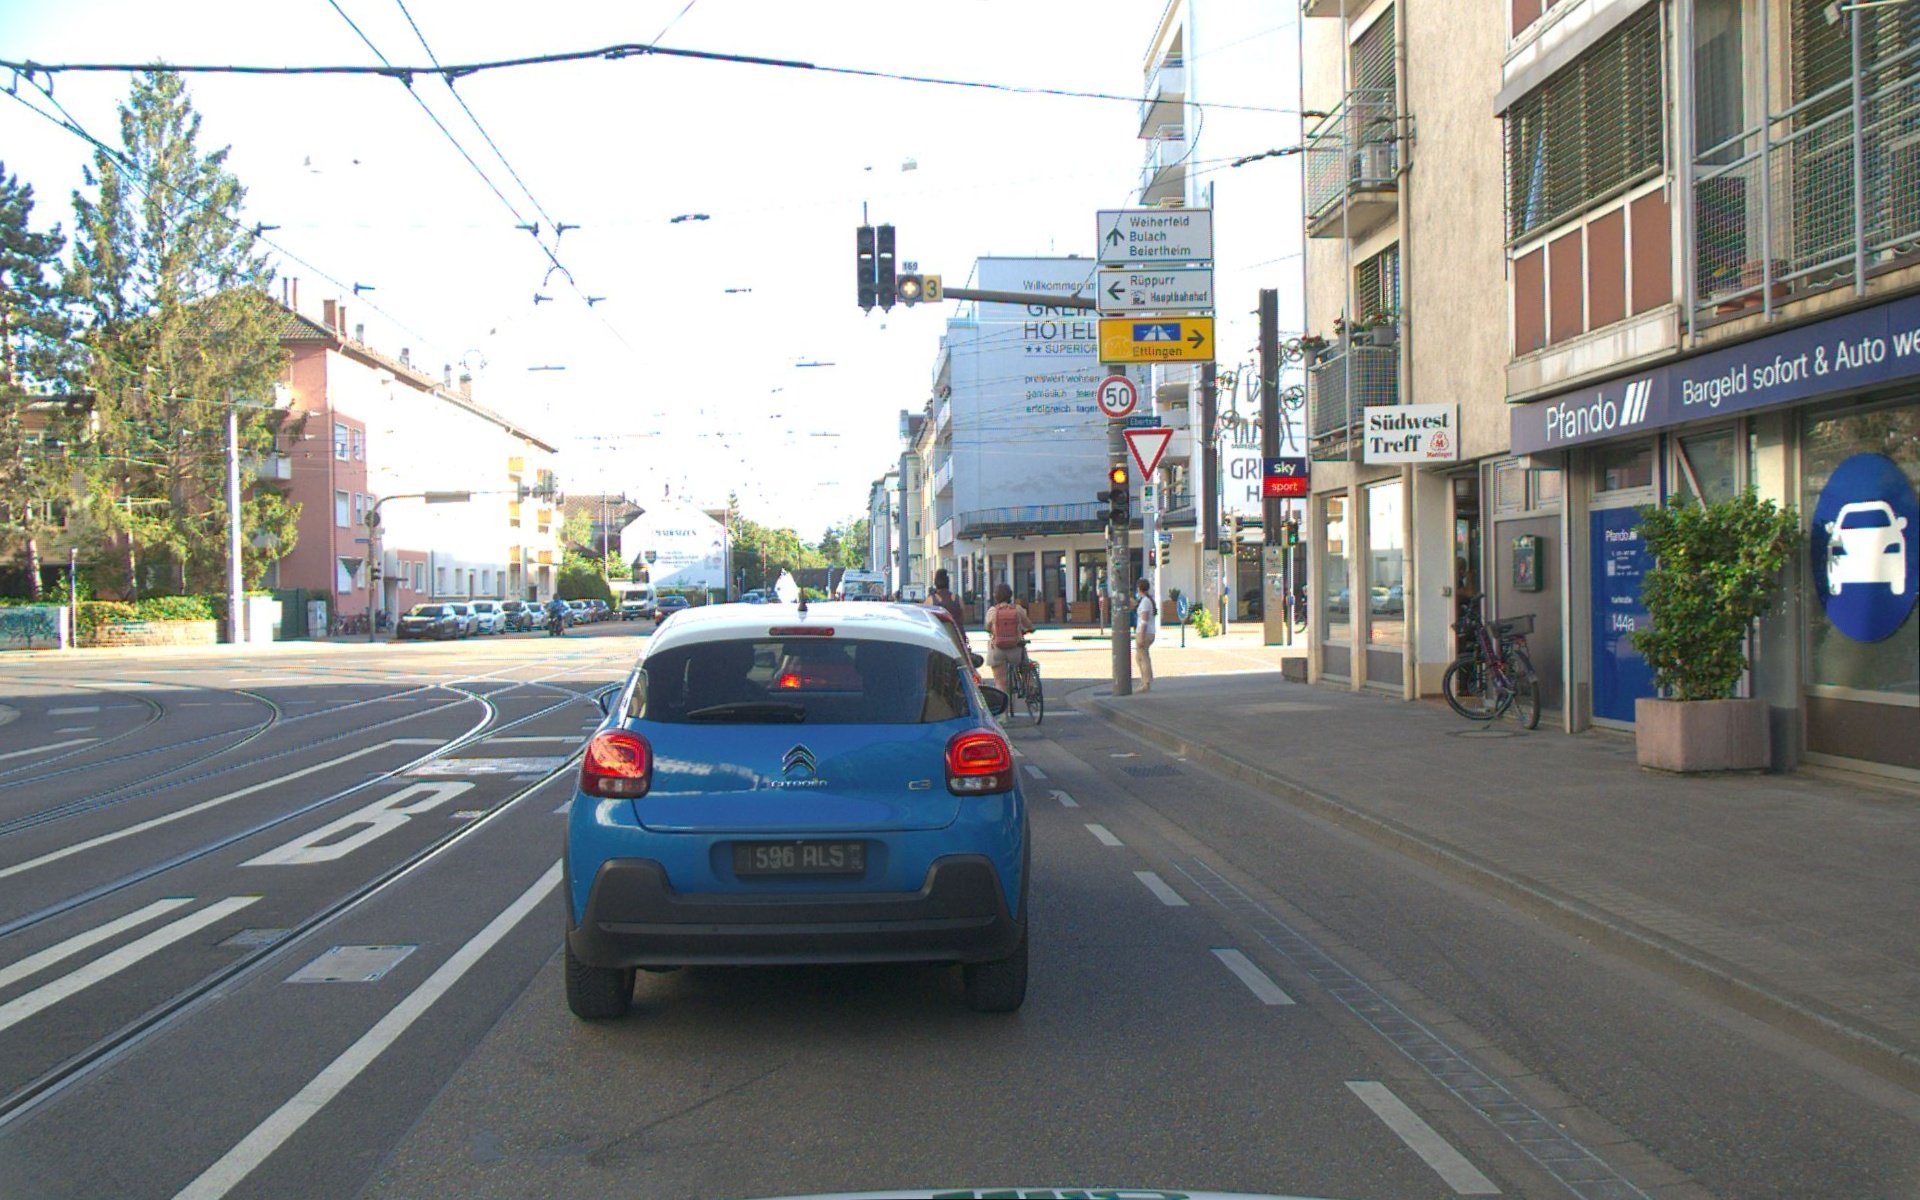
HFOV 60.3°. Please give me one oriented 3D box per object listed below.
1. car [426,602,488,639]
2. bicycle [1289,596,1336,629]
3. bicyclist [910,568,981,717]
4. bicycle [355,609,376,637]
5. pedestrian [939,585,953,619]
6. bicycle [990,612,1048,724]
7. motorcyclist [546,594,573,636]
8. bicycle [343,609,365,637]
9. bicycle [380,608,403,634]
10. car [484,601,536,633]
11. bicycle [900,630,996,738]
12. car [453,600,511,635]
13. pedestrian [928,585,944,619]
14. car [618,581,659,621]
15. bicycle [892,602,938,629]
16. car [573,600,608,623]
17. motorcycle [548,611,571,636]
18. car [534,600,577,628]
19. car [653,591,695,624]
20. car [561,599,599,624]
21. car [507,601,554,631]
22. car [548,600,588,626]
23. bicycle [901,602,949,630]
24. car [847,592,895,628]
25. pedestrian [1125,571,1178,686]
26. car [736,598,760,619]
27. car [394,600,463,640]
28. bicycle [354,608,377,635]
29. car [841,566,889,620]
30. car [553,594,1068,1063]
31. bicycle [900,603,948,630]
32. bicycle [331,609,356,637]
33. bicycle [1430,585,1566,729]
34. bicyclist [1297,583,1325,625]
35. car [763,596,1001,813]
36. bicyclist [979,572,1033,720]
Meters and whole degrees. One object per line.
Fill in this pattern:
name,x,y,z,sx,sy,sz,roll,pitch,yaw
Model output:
car,-22.554,0.877,74.265,1.913,1.545,4.040,-1,0,-6
bicycle,12.155,0.437,56.988,1.464,1.110,0.603,-1,0,37
bicyclist,-0.168,0.472,18.978,0.607,1.658,0.756,-1,0,-16
bicycle,-24.231,0.937,67.425,0.527,1.101,1.905,-1,0,-11
pedestrian,-0.586,0.086,70.001,0.459,1.445,0.525,-1,0,-13
bicycle,0.718,0.815,20.644,0.601,1.286,1.910,-1,0,-1
motorcyclist,-16.206,0.608,66.961,0.973,1.659,0.737,-1,0,-10
bicycle,-24.589,0.929,67.125,0.527,1.101,1.905,-1,0,-11
bicycle,-25.673,0.942,74.701,0.597,1.101,1.908,-1,0,-7
car,-23.234,0.841,85.527,1.913,1.545,3.995,-1,0,-6
bicycle,-0.166,0.934,18.996,0.607,1.123,1.878,-1,0,-16
car,-22.756,0.821,78.870,1.913,1.545,3.995,-1,0,-6
pedestrian,-1.011,0.091,70.246,0.514,1.445,0.547,-1,0,19
car,-23.222,0.070,119.586,2.446,2.759,5.828,-1,0,-7
bicycle,-1.861,0.644,68.279,1.868,1.083,0.641,-1,0,-8
car,-25.565,0.790,114.602,1.913,1.545,3.995,-1,0,-6
motorcycle,-16.227,0.941,67.029,0.738,0.993,2.092,-1,0,-9
car,-23.934,0.824,98.002,1.913,1.545,3.995,-1,0,-6
car,-15.233,0.362,88.248,1.967,1.656,5.045,-1,0,-7
car,-24.849,0.751,108.272,1.913,1.545,3.995,-1,0,-6
car,-23.763,0.857,91.577,1.913,1.545,3.995,-1,0,-6
car,-24.408,0.810,102.999,1.913,1.545,3.995,-1,0,-6
bicycle,-1.394,0.642,65.787,1.868,1.083,0.641,-1,0,-8
car,-3.677,0.385,67.747,1.752,1.383,3.909,-1,0,-6
pedestrian,2.816,0.414,24.350,0.735,1.663,0.740,-1,0,5
car,-21.808,0.812,170.501,2.293,2.074,5.044,-1,0,-6
car,-22.016,0.792,68.660,1.913,1.545,3.995,-1,0,-6
bicycle,-25.875,0.928,71.996,0.527,1.101,1.908,-1,0,-7
car,-4.232,-0.316,73.186,2.039,2.309,5.646,0,0,-4
car,-0.616,0.732,7.358,1.647,1.488,3.997,1,0,-4
bicycle,-1.447,0.667,67.092,1.868,1.083,0.641,-1,0,-8
bicycle,-24.983,0.919,67.000,0.628,1.101,1.905,-1,0,-11
bicycle,5.109,0.506,15.827,0.627,1.286,1.910,-1,0,-1
bicyclist,12.101,0.136,57.019,0.715,1.459,0.603,-1,0,37
car,-0.683,0.728,13.567,1.647,1.488,3.997,1,0,-4
bicyclist,0.564,0.553,20.603,0.588,1.776,1.084,-1,0,-1
